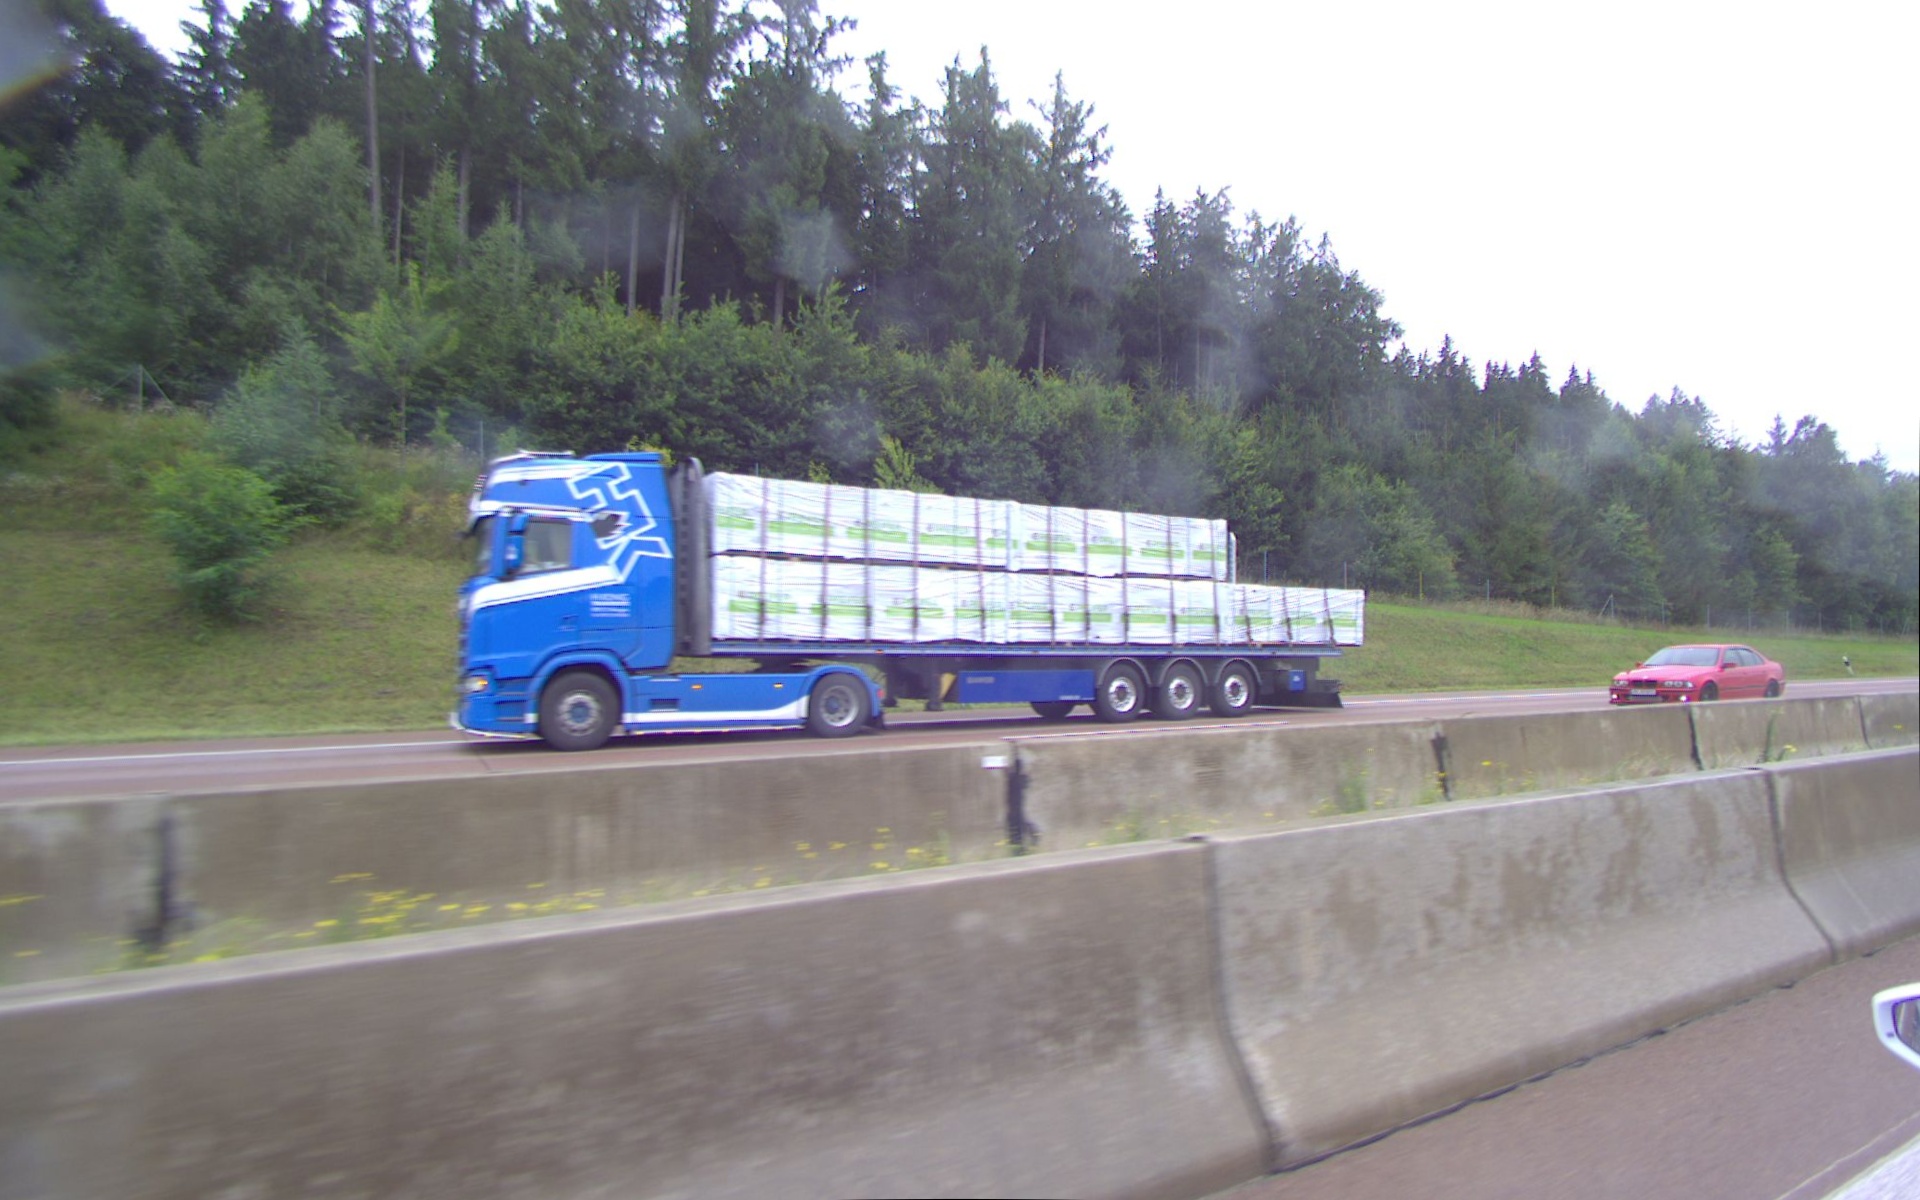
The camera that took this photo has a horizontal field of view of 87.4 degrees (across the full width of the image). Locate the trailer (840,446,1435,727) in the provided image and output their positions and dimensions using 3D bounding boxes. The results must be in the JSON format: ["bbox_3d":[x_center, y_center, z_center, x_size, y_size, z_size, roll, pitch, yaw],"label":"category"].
[{"bbox_3d":[4.094,-0.046,20.000,12.795,4.331,2.920,1,-4,-31],"label":"trailer"}]

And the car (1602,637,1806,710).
[{"bbox_3d":[16.586,1.614,22.335,5.056,1.387,1.809,3,-1,-31],"label":"car"}]

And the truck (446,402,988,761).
[{"bbox_3d":[-3.590,-0.113,15.427,7.559,4.376,2.951,0,-4,-31],"label":"truck"}]
